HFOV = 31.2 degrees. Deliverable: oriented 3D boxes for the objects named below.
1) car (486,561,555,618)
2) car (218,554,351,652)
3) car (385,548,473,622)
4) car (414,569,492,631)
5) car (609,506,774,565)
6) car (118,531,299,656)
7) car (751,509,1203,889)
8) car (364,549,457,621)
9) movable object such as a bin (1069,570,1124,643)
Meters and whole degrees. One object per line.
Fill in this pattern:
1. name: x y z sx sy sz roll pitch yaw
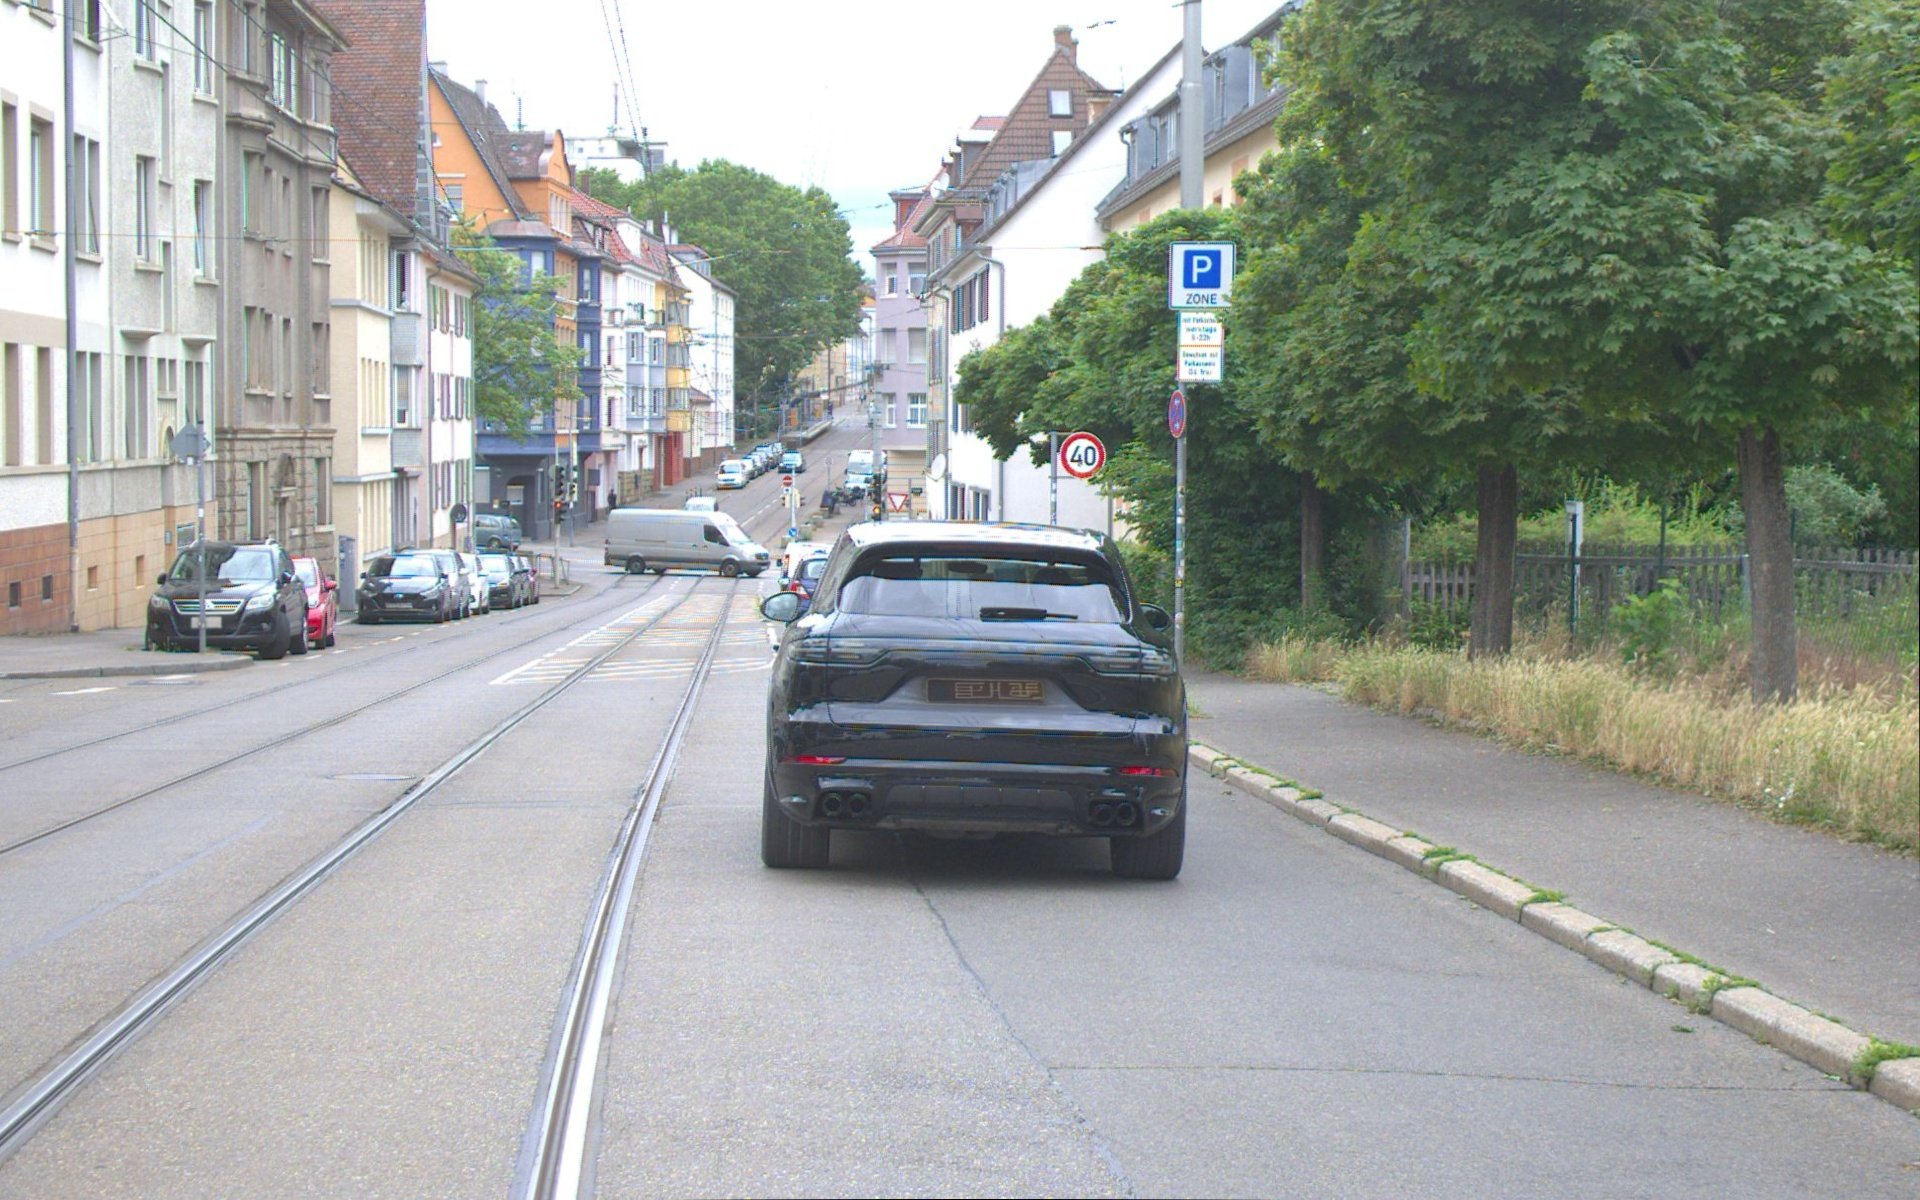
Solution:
1. car: -11.744 -0.257 92.038 1.620 1.468 4.556 -1 0 -4
2. car: -10.586 0.053 54.060 1.620 1.458 3.746 -1 0 -4
3. car: -11.950 -0.317 77.508 1.620 1.599 4.351 -1 0 -4
4. car: -12.307 0.000 83.619 1.620 1.458 3.685 -1 0 -4
5. car: -10.717 -2.561 137.222 6.288 2.283 2.199 0 0 25
6. car: -10.389 -0.075 47.795 1.867 1.640 4.403 -1 0 -4
7. car: -0.041 0.429 17.200 1.993 1.670 4.000 0 0 -3
8. car: -11.592 -0.305 72.692 1.620 1.458 4.033 -1 0 -4
9. movable object such as a bin: 2.263 0.107 57.128 0.792 1.214 0.789 0 0 -7
